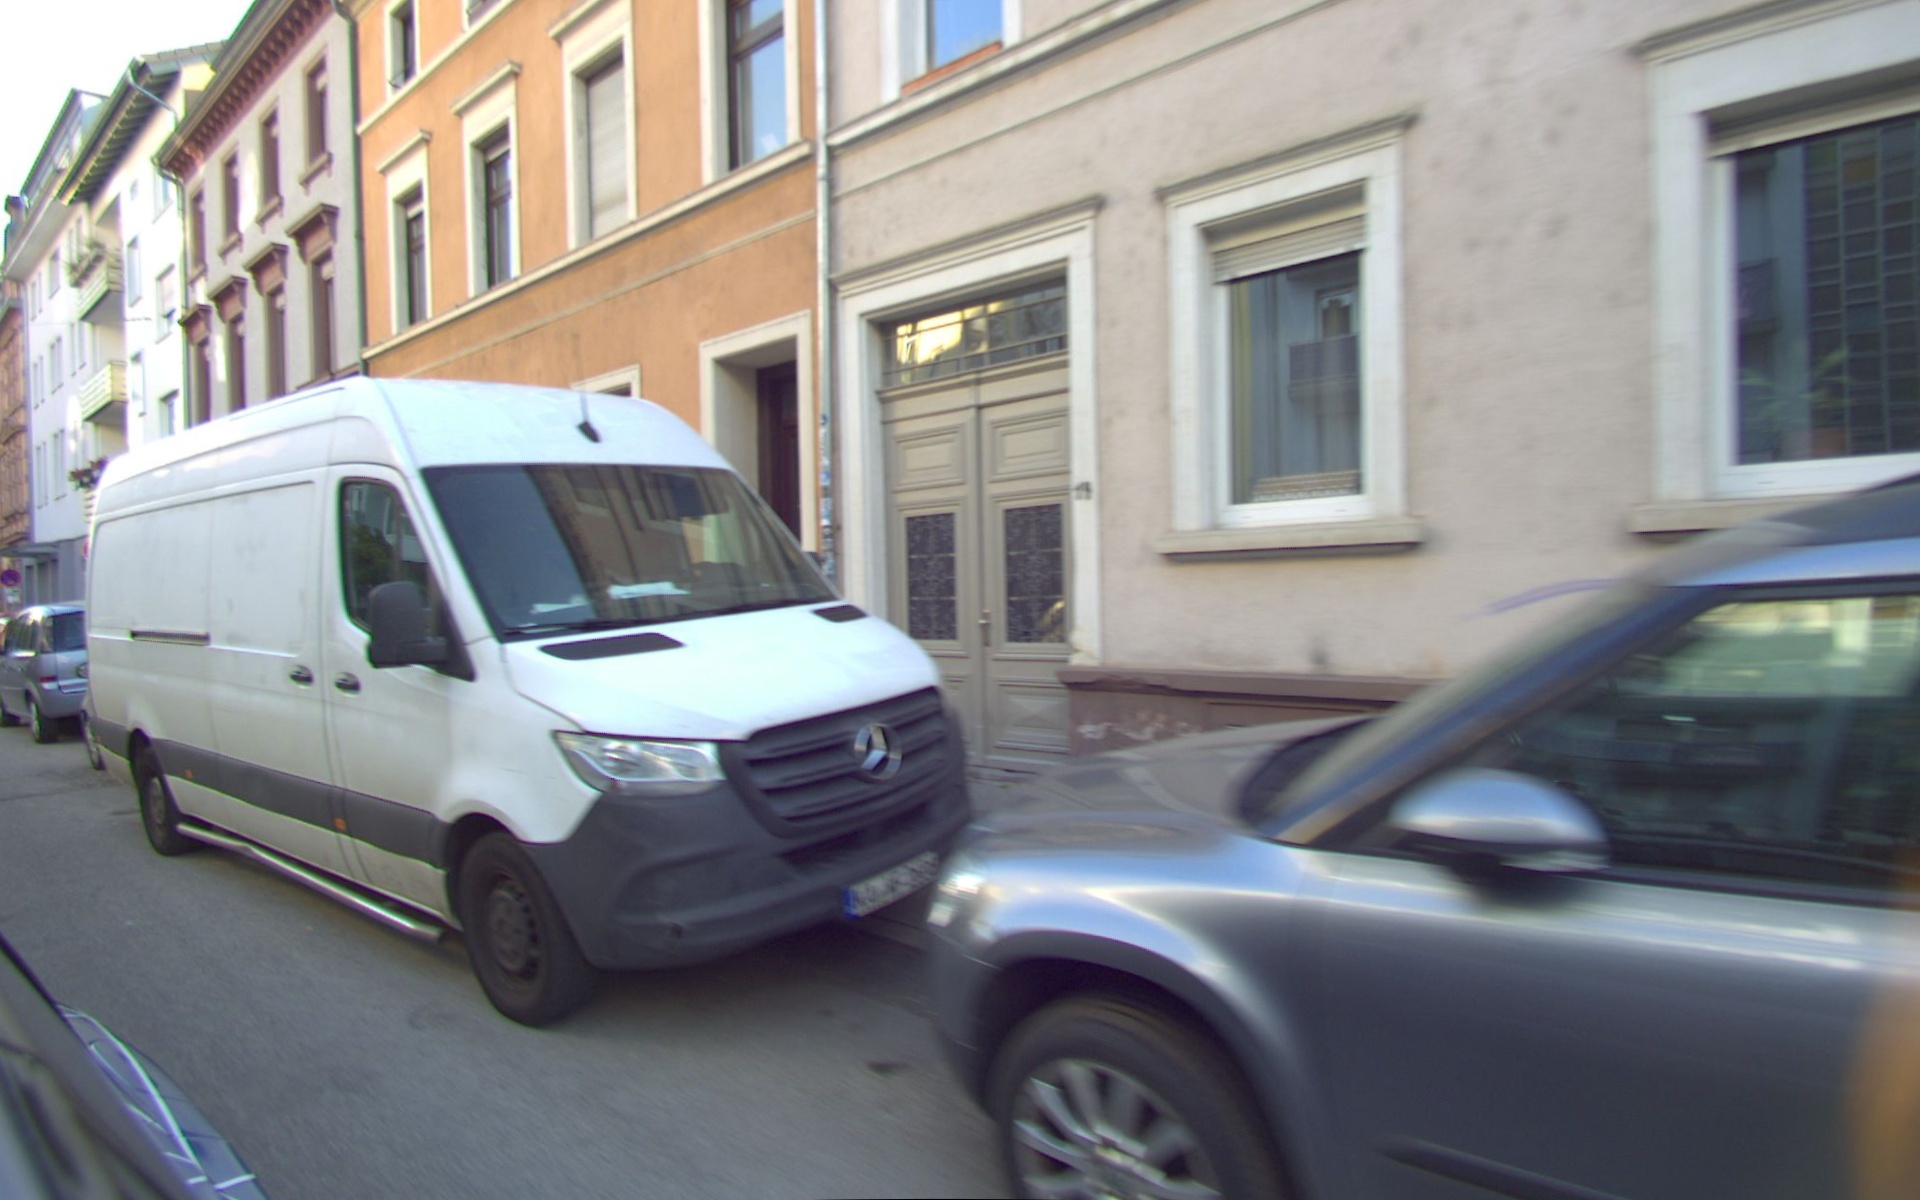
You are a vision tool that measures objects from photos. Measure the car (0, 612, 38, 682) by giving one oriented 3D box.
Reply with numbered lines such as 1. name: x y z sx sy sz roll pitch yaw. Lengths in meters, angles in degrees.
1. car: -22.786 1.120 23.602 1.650 1.496 3.608 -9 5 -44

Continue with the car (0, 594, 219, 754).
1. car: -11.212 0.846 13.030 3.976 1.656 1.694 -1 3 40

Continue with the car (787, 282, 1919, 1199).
1. car: 1.826 0.476 1.845 4.289 1.764 1.845 -1 1 40

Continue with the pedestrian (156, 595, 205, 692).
1. pedestrian: -13.807 0.757 17.923 0.665 1.650 0.490 -1 2 41

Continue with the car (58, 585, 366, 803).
1. car: -7.344 0.774 9.819 3.650 1.698 1.574 -1 1 40

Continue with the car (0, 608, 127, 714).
1. car: -15.348 0.958 16.826 3.283 1.458 1.641 -1 4 40

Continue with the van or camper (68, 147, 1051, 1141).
1. van or camper: -2.999 0.170 5.729 7.133 2.669 1.930 -1 -1 39
